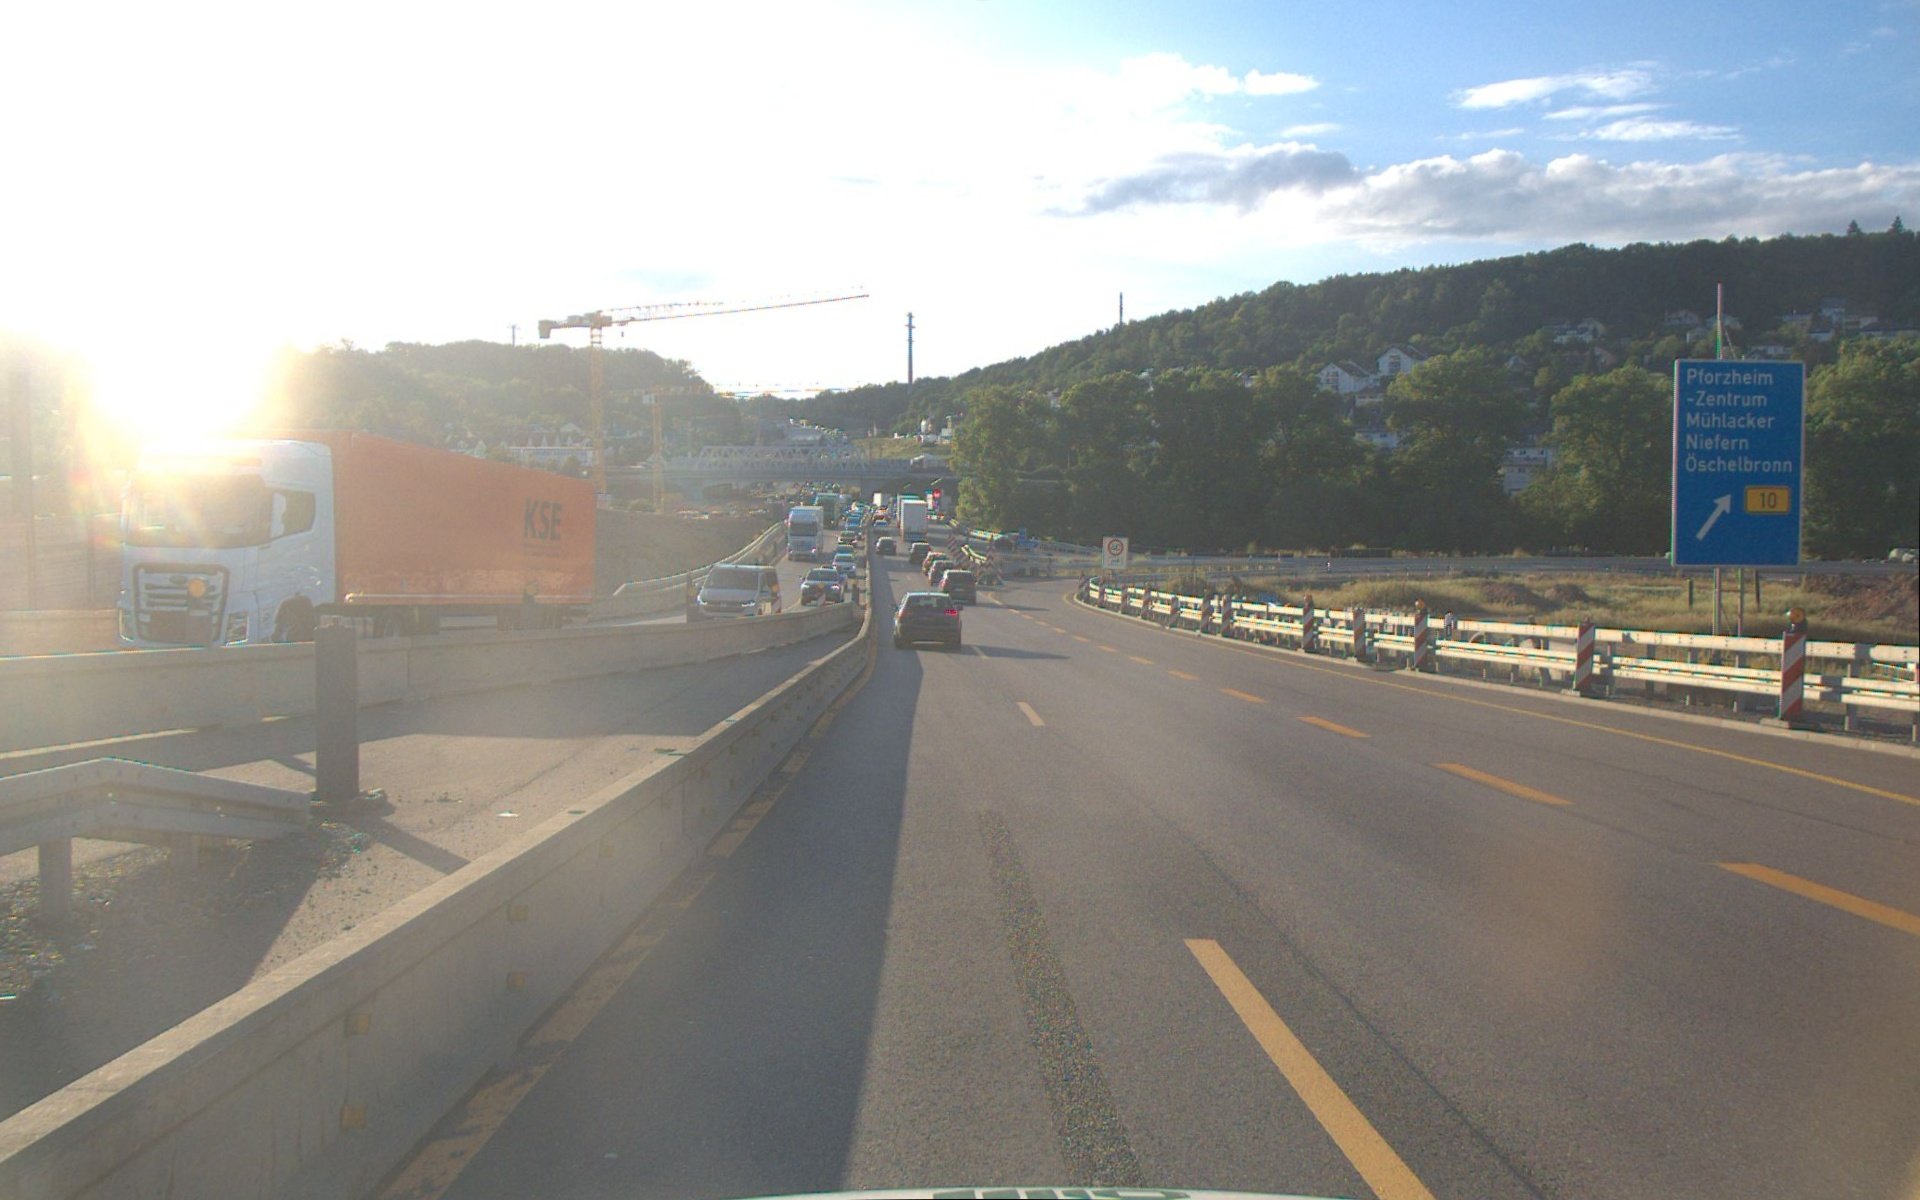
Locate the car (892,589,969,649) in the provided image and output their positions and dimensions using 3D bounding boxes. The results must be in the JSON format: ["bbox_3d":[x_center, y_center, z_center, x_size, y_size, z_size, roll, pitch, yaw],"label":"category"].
[{"bbox_3d":[-0.811,0.458,43.581,1.735,1.414,3.996,2,1,-5],"label":"car"}]

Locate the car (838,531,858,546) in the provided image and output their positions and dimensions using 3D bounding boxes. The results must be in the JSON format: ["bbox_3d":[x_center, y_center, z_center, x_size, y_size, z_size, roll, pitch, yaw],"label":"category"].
[{"bbox_3d":[-10.834,-5.996,160.442,1.800,1.434,4.493,1,2,-3],"label":"car"}]

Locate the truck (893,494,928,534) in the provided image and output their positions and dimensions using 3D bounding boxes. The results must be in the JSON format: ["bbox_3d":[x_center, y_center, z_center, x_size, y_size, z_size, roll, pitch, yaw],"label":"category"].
[{"bbox_3d":[-6.348,-10.947,208.474,3.813,4.574,15.265,2,4,-3],"label":"truck"}]

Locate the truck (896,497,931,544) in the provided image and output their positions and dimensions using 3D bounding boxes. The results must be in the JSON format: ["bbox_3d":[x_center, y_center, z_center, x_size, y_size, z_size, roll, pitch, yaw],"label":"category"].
[{"bbox_3d":[-5.099,-8.676,178.137,3.318,4.574,15.265,2,4,-3],"label":"truck"}]

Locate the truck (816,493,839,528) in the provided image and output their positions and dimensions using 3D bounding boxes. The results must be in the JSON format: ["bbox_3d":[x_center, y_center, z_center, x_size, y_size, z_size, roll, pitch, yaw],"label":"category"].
[{"bbox_3d":[-16.088,-10.896,200.844,2.715,4.150,5.773,2,3,-5],"label":"truck"}]

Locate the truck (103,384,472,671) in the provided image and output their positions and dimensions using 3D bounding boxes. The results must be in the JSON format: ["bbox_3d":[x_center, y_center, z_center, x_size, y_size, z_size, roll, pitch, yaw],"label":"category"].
[{"bbox_3d":[-12.099,-1.193,30.857,2.529,4.549,8.338,2,0,7],"label":"truck"}]

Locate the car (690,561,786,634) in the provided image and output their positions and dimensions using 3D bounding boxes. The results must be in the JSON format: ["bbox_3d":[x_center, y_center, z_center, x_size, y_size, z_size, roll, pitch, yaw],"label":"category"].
[{"bbox_3d":[-6.707,-0.096,50.534,1.952,2.049,5.259,2,0,2],"label":"car"}]

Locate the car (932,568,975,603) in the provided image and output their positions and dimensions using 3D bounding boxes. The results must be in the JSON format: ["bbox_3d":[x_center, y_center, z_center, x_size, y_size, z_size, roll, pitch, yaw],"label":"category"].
[{"bbox_3d":[-0.348,-0.727,82.143,1.777,1.643,4.522,2,0,-4],"label":"car"}]

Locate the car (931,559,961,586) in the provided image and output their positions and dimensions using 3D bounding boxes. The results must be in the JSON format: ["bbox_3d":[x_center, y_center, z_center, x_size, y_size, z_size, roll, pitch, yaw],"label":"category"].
[{"bbox_3d":[-0.929,-1.740,104.837,1.738,1.613,4.133,2,0,-2],"label":"car"}]

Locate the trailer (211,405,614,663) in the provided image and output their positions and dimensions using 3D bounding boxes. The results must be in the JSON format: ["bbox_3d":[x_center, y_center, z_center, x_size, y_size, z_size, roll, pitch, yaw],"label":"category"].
[{"bbox_3d":[-11.331,-1.219,36.765,2.529,4.549,14.147,2,0,7],"label":"trailer"}]

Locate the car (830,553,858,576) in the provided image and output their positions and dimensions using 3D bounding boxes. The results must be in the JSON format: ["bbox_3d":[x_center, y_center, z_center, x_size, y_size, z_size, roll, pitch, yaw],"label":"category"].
[{"bbox_3d":[-7.991,-2.442,113.988,1.753,1.514,4.218,2,1,-2],"label":"car"}]

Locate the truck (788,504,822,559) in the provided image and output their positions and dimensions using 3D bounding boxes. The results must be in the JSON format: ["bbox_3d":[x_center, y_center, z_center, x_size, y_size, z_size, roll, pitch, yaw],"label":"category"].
[{"bbox_3d":[-12.838,-5.652,137.265,2.502,4.294,6.047,2,2,-3],"label":"truck"}]

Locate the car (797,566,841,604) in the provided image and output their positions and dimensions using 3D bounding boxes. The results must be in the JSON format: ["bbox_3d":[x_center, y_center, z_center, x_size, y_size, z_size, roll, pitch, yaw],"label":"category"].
[{"bbox_3d":[-6.507,-0.716,76.753,1.753,1.647,4.872,2,1,-2],"label":"car"}]

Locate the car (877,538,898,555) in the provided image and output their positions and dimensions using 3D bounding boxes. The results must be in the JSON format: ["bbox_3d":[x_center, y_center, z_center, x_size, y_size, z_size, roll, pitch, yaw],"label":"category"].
[{"bbox_3d":[-6.576,-4.836,149.712,1.826,1.444,3.999,2,2,-3],"label":"car"}]

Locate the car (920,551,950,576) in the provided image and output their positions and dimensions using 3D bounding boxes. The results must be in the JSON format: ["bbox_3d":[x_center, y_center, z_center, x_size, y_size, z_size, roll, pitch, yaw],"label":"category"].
[{"bbox_3d":[-1.830,-2.630,118.420,1.838,1.627,4.963,1,3,-4],"label":"car"}]

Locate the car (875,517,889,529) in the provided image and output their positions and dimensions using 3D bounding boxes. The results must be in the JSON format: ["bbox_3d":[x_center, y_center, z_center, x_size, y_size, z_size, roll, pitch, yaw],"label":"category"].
[{"bbox_3d":[-10.940,-10.813,232.889,1.885,1.579,3.999,2,2,-3],"label":"car"}]

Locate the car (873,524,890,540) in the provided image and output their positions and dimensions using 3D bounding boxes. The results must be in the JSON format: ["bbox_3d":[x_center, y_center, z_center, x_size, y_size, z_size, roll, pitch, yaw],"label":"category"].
[{"bbox_3d":[-9.024,-7.847,190.998,1.885,1.579,3.998,2,0,-3],"label":"car"}]

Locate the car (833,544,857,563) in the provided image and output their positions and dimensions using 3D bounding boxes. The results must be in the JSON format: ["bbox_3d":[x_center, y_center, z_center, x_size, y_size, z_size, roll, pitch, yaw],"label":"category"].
[{"bbox_3d":[-9.165,-3.730,131.988,1.813,1.509,4.509,0,2,-2],"label":"car"}]

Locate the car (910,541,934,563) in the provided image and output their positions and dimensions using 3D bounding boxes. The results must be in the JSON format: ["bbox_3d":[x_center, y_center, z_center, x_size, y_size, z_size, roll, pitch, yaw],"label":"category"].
[{"bbox_3d":[-3.132,-3.945,135.536,1.779,1.660,4.409,2,3,-4],"label":"car"}]

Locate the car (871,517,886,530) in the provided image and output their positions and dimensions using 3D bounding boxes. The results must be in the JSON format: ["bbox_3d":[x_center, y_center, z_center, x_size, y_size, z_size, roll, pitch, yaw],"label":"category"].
[{"bbox_3d":[-10.644,-10.023,215.950,1.885,1.579,3.999,2,2,-3],"label":"car"}]

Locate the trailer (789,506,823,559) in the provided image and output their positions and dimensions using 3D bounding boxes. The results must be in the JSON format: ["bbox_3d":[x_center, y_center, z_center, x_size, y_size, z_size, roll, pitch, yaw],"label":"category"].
[{"bbox_3d":[-13.333,-5.827,144.095,2.481,4.286,13.925,2,2,-4],"label":"trailer"}]
